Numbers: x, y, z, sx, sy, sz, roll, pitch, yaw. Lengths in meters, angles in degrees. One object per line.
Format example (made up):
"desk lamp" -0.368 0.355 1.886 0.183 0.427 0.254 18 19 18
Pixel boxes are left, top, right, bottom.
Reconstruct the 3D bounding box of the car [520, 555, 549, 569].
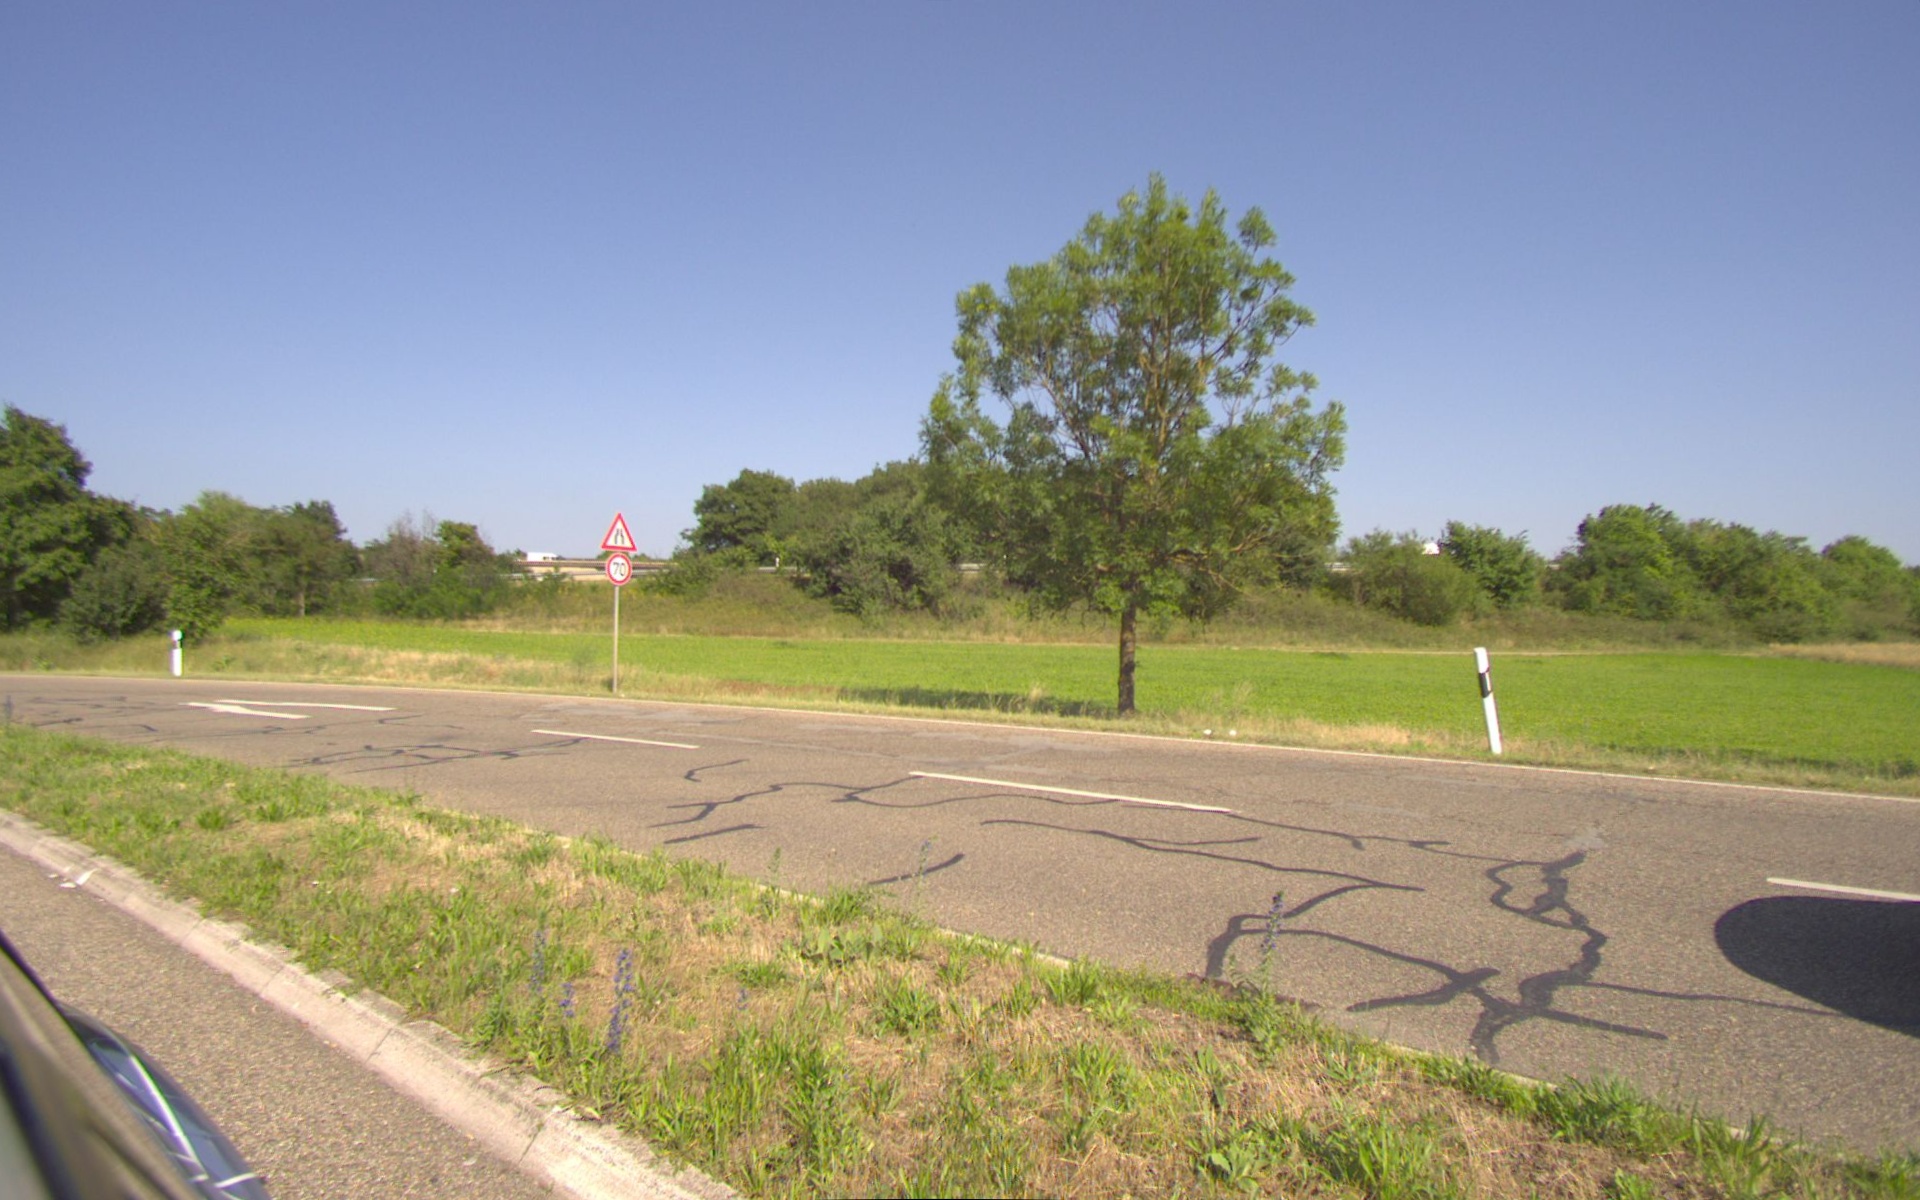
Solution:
"car" -81.965 -7.337 195.082 4.637 2.539 2.266 -1 0 10
